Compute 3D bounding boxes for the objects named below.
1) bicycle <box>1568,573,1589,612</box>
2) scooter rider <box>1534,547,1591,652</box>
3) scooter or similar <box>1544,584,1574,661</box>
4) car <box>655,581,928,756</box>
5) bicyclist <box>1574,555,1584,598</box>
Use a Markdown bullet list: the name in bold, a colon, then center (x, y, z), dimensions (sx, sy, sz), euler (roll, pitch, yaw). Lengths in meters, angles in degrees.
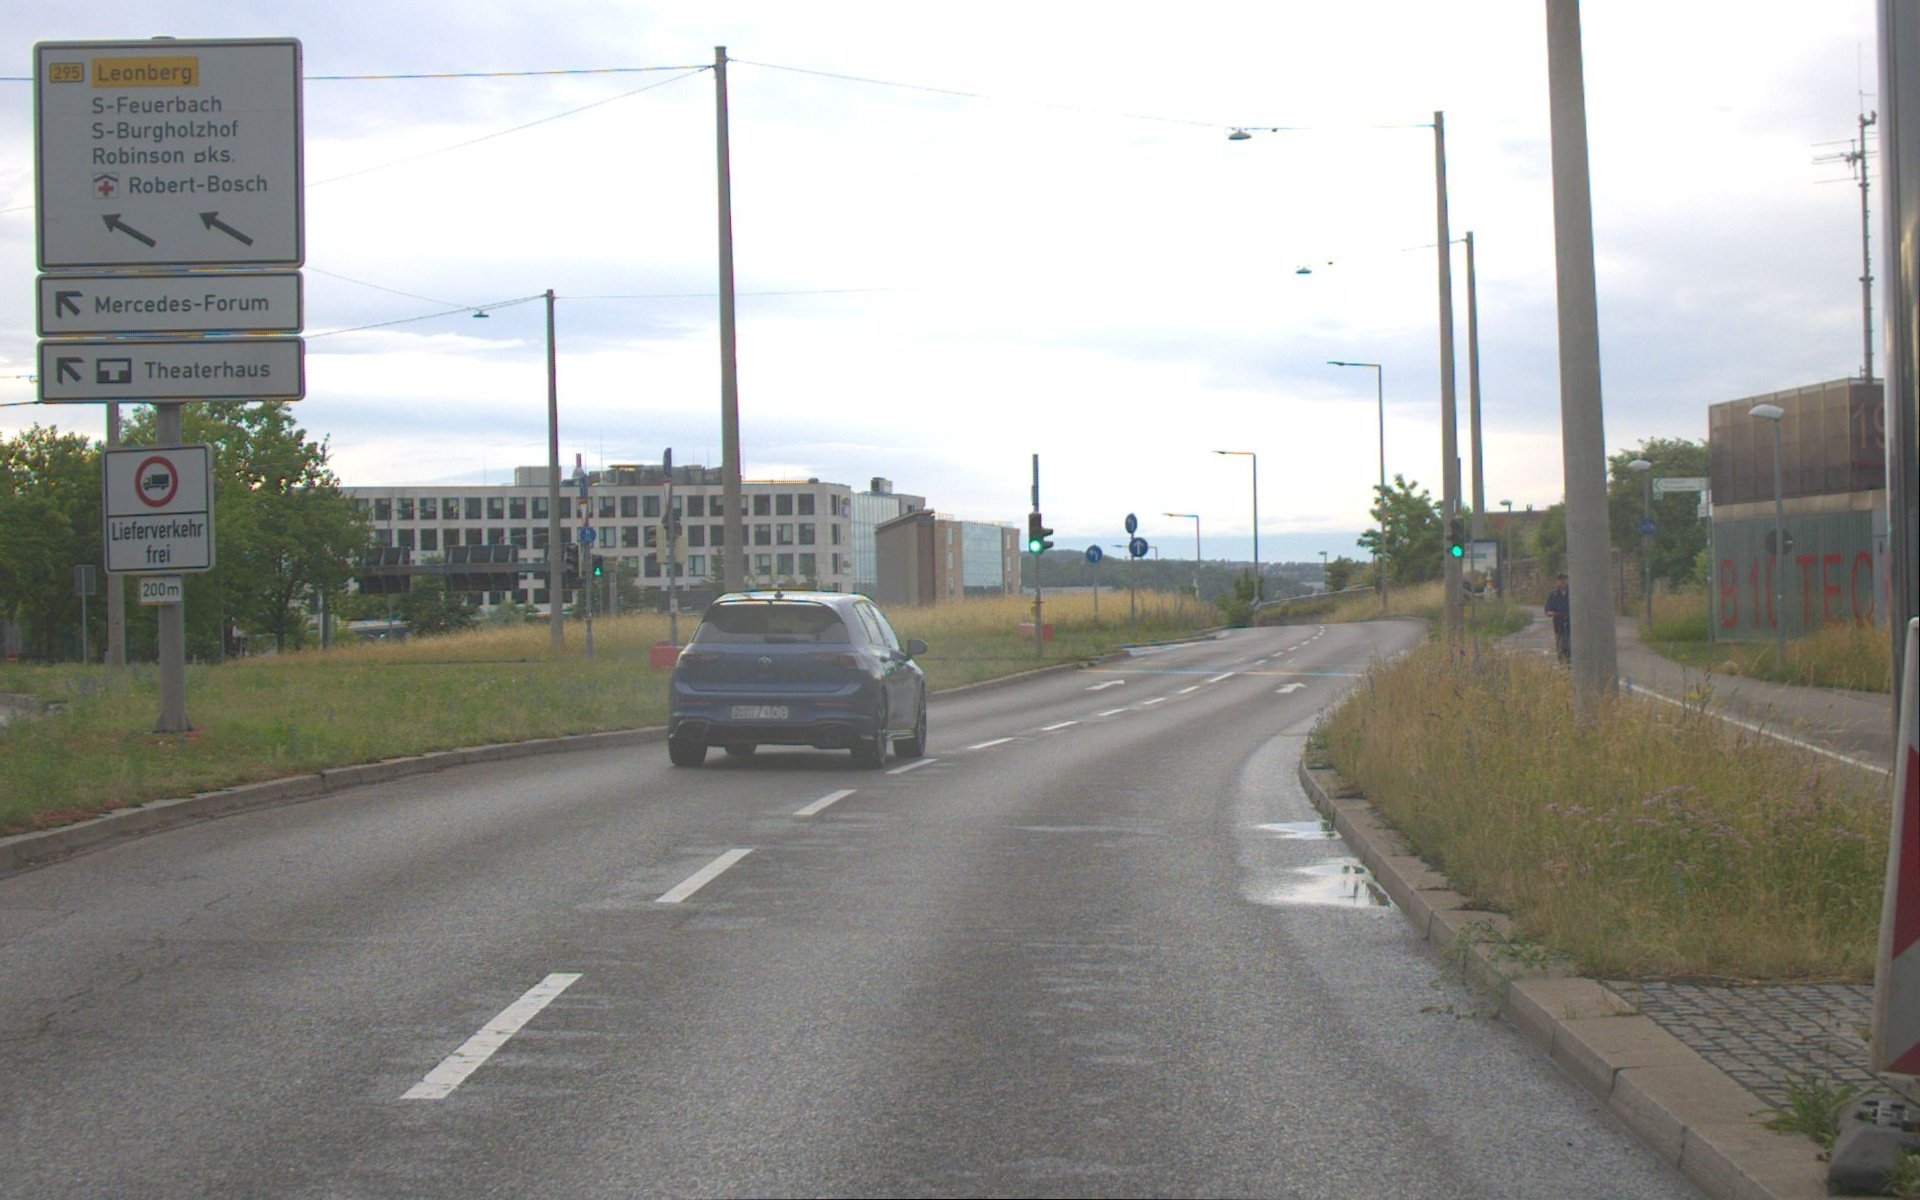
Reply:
- **bicycle**: center (16.979, -0.205, 94.364), dimensions (0.551, 1.064, 0.615), euler (0, 1, 11)
- **scooter rider**: center (9.603, -0.012, 54.804), dimensions (0.806, 1.623, 0.828), euler (-2, 0, 8)
- **scooter or similar**: center (9.509, 0.345, 54.596), dimensions (0.401, 1.192, 1.113), euler (2, 1, 8)
- **car**: center (-1.364, 0.628, 29.338), dimensions (1.838, 1.389, 3.999), euler (0, -2, 4)
- **bicyclist**: center (16.983, -0.650, 94.378), dimensions (0.265, 1.192, 0.315), euler (0, 0, 11)
